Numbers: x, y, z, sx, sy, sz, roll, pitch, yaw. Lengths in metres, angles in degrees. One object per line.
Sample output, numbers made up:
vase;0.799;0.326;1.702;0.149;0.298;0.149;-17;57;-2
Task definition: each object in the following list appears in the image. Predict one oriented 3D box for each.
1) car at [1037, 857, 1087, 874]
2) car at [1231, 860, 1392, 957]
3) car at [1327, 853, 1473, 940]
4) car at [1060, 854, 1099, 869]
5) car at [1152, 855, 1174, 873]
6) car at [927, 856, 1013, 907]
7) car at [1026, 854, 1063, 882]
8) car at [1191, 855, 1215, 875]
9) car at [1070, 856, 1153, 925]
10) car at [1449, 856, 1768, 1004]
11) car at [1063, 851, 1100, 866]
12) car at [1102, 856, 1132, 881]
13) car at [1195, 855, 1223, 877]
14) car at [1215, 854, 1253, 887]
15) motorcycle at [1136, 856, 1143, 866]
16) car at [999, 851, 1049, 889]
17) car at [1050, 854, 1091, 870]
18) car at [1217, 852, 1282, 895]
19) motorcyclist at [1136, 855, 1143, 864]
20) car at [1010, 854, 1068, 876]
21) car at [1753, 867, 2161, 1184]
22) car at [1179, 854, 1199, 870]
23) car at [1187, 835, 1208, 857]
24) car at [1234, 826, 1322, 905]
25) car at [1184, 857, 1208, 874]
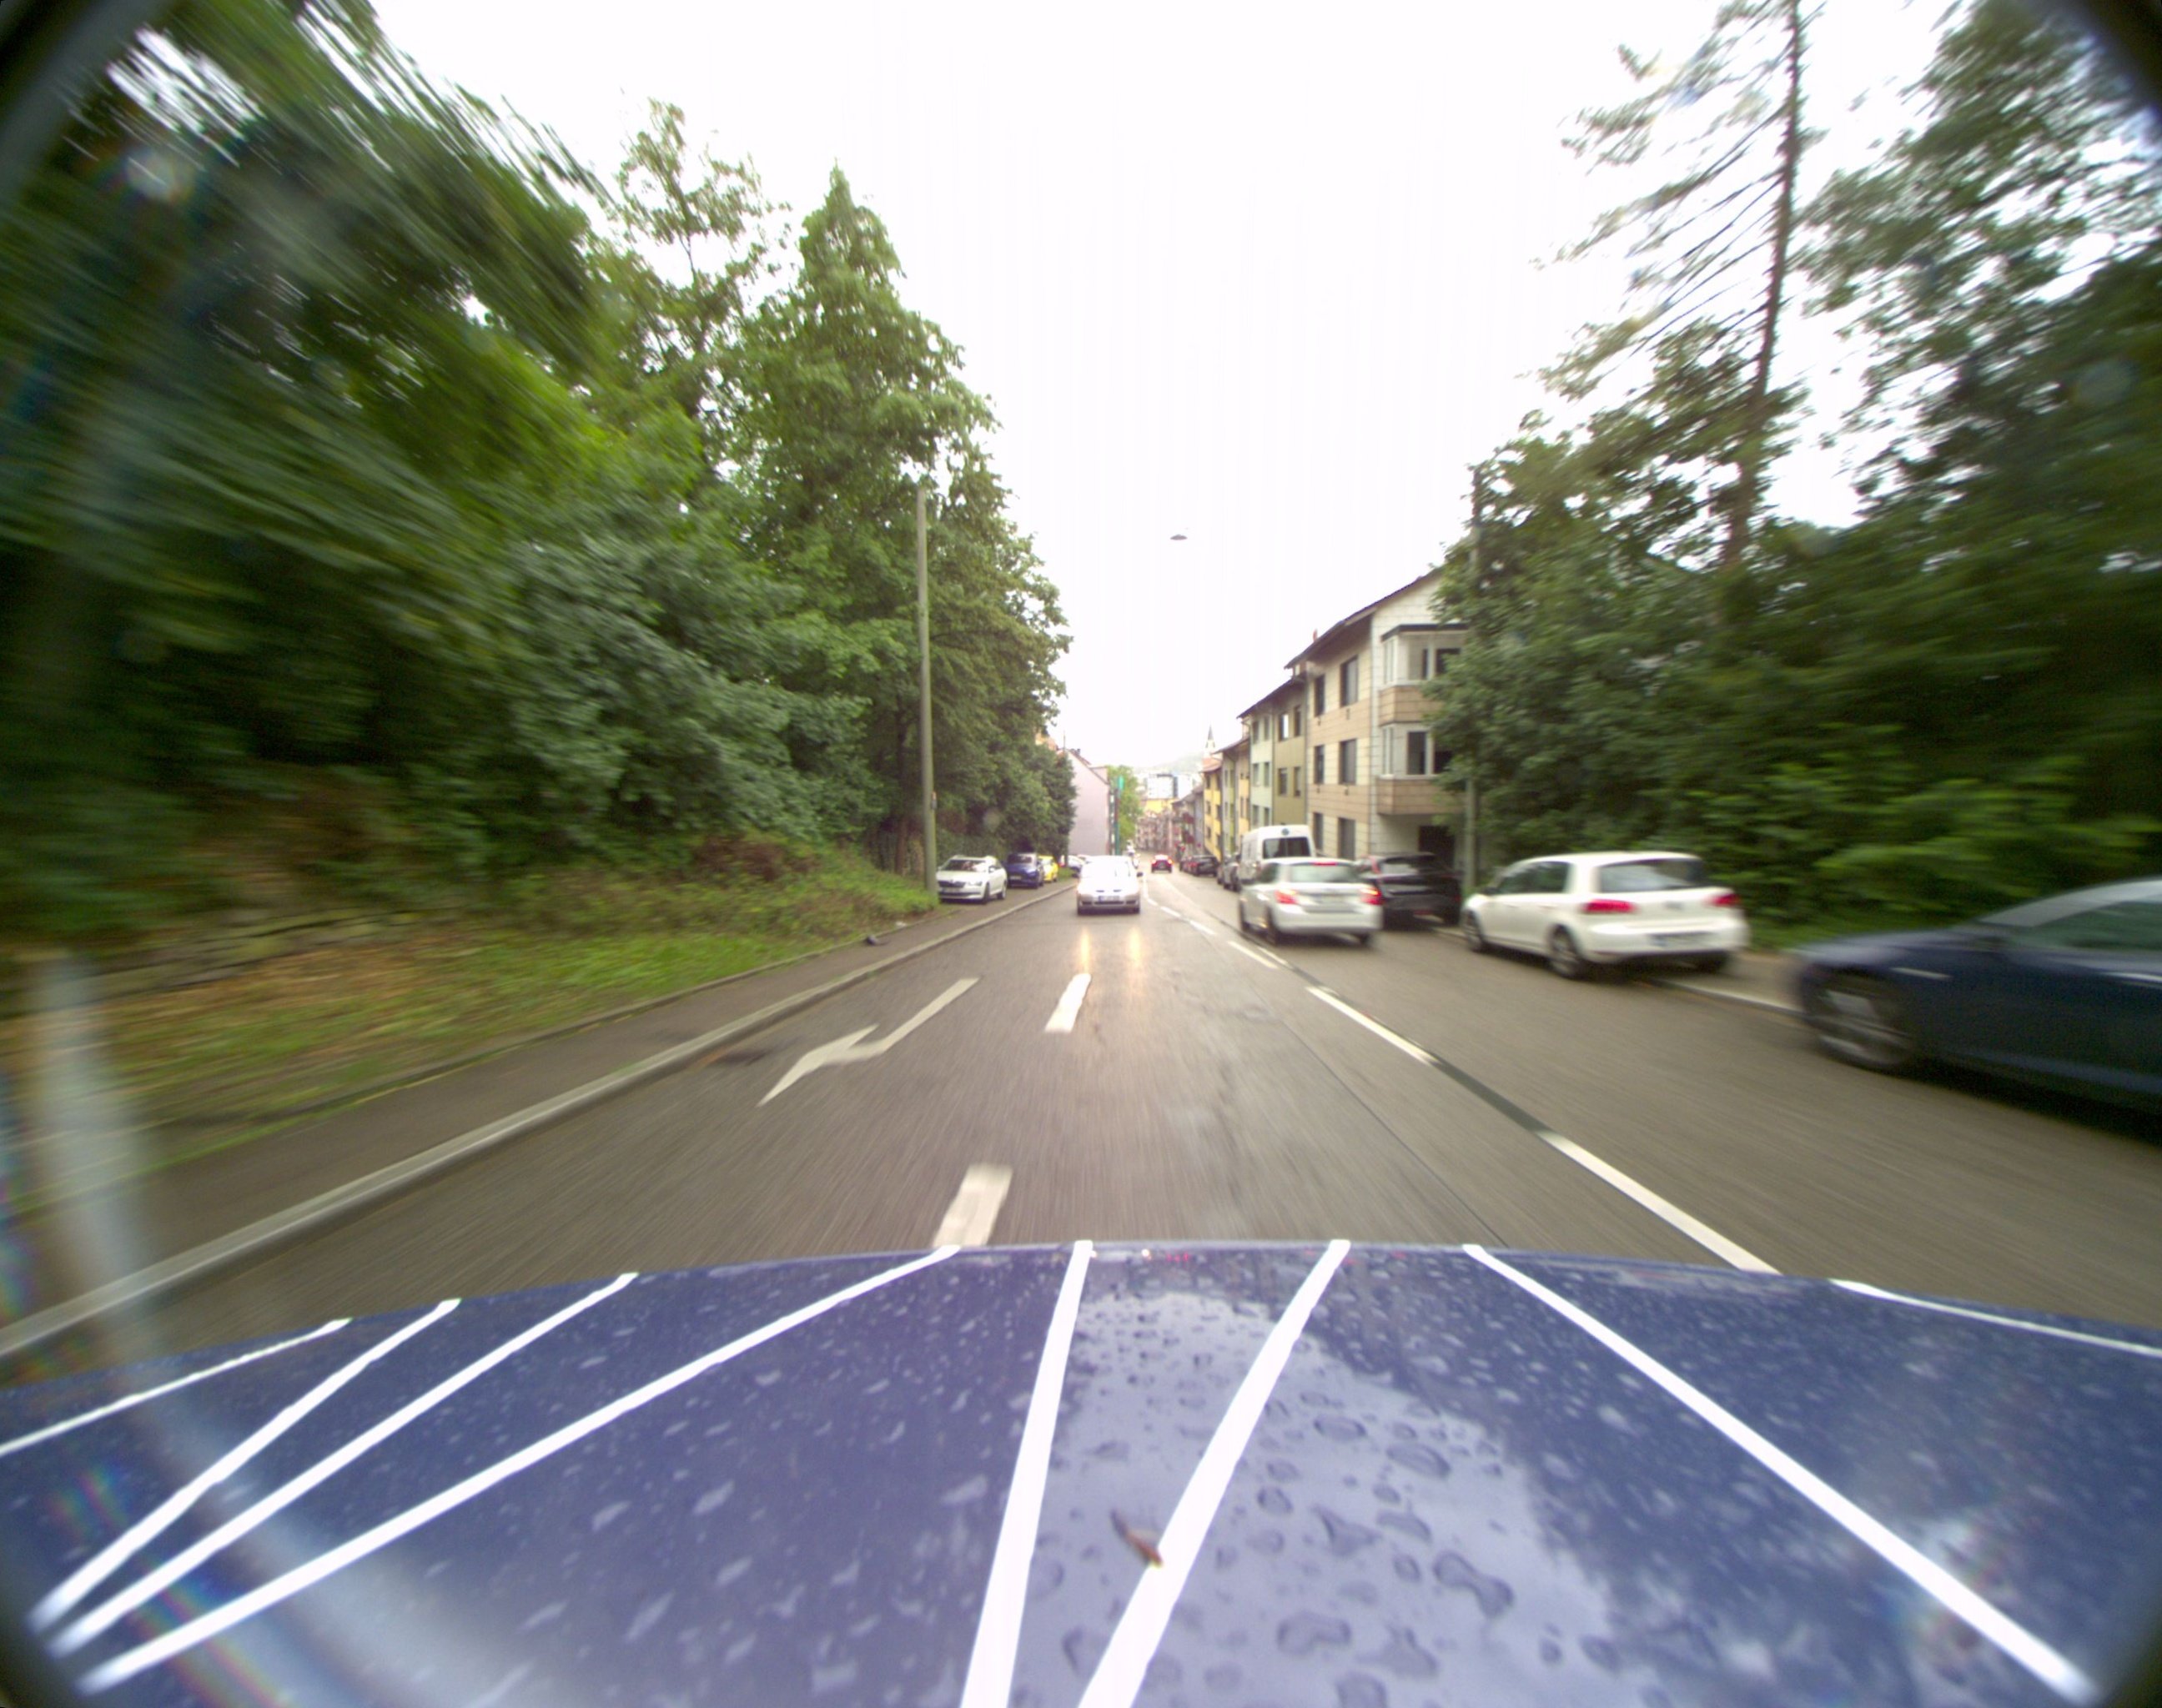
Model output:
car;-1.666;0.990;66.709;4.192;1.408;1.804;1;0;4
car;3.906;0.842;13.572;1.729;1.427;3.912;1;0;1
car;6.669;0.793;16.382;1.648;1.595;4.187;1;0;5
car;-0.118;0.848;85.865;4.192;1.565;1.804;2;1;4
car;7.749;0.898;72.270;1.940;1.615;4.501;-1;0;5
car;-3.531;0.830;25.117;1.742;1.469;4.741;1;0;5
car;-2.024;0.757;43.332;1.567;1.458;3.900;1;0;5
car;10.384;0.932;65.041;1.687;1.584;4.056;0;0;4
car;0.925;0.897;20.456;1.825;1.603;4.190;-2;0;7
car;6.594;0.813;10.146;1.659;1.560;4.150;0;0;5
car;0.105;0.532;88.612;4.192;1.635;1.804;2;1;4
car;2.518;0.979;53.097;1.998;1.603;3.968;-1;0;3
car;9.632;0.874;57.348;1.696;1.584;4.001;0;0;4
car;8.003;0.822;39.997;1.414;1.605;4.384;1;0;4
motorcycle;7.528;0.899;97.827;0.778;1.120;2.300;-3;0;6
car;-2.604;0.693;35.692;1.769;1.614;4.680;0;1;3
car;-1.108;0.816;81.073;4.192;1.565;1.804;2;1;4
car;7.473;0.814;34.179;1.970;1.729;4.886;1;0;2
motorcyclist;7.524;0.710;97.785;0.778;1.120;0.549;-3;1;6
car;-3.210;0.844;58.680;4.192;1.584;1.804;-2;0;4
car;6.151;0.879;3.525;1.864;1.485;4.756;2;0;1
car;11.571;0.797;81.598;1.908;1.647;4.329;0;0;4
car;14.138;-0.931;92.370;2.122;2.536;5.445;1;0;4
car;7.006;0.380;27.657;2.122;2.536;5.445;1;0;4
car;10.895;1.101;72.311;1.908;1.528;4.001;0;0;4
